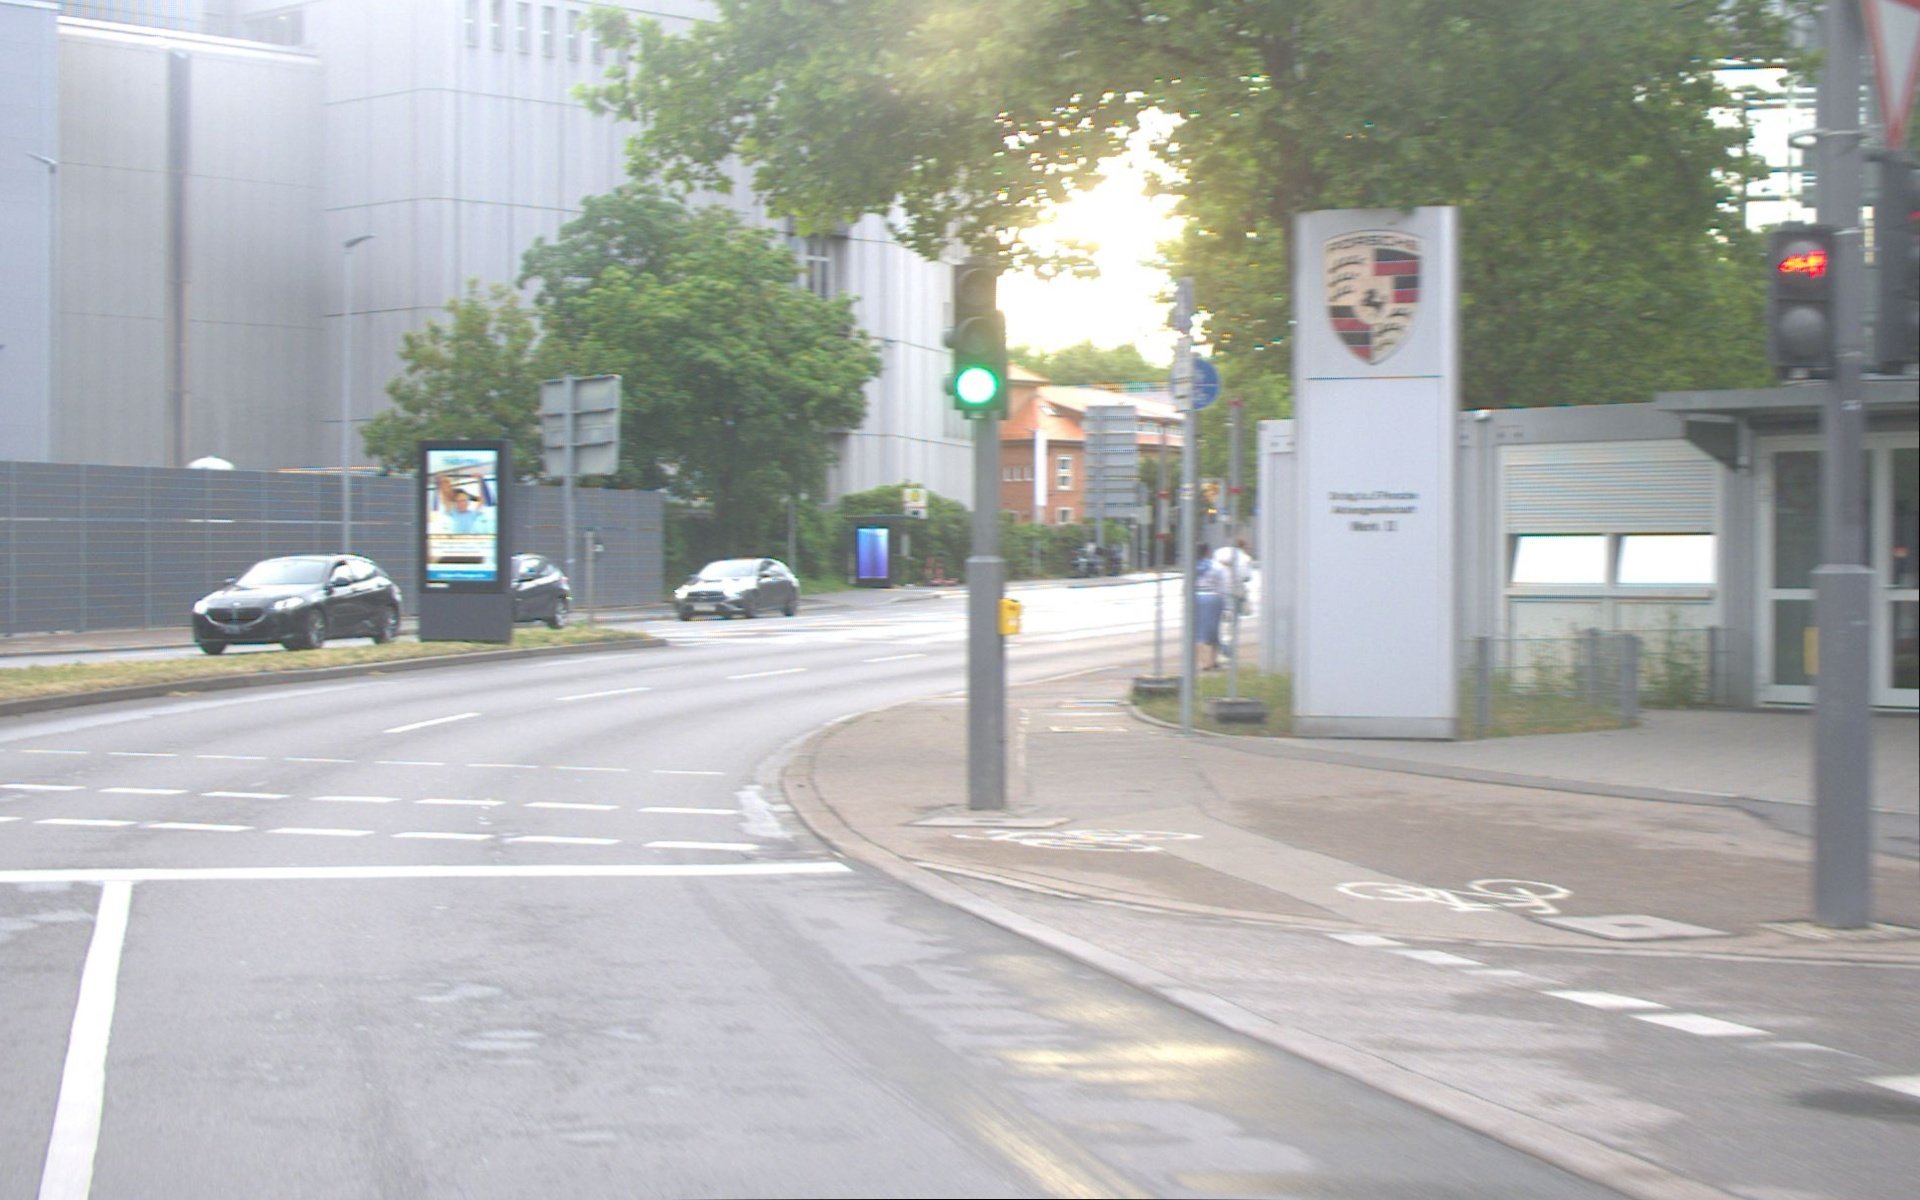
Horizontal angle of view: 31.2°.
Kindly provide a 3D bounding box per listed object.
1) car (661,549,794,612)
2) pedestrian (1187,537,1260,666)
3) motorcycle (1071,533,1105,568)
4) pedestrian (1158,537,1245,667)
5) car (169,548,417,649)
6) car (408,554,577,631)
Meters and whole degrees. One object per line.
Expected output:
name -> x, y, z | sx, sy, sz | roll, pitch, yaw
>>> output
car -> -5.441, -0.480, 80.972 | 1.784, 1.380, 4.543 | -2, 0, 14
pedestrian -> 3.274, 0.011, 42.664 | 0.709, 1.586, 0.840 | 1, 1, 19
motorcycle -> 5.611, -2.167, 150.215 | 0.959, 1.550, 3.298 | 0, 1, 12
pedestrian -> 2.862, 0.019, 40.679 | 0.832, 1.515, 0.841 | 1, 1, 18
car -> -9.950, -0.055, 51.630 | 1.784, 1.435, 4.392 | 1, 1, 17
car -> -9.208, -0.174, 68.058 | 1.784, 1.449, 4.558 | -1, 1, 13
